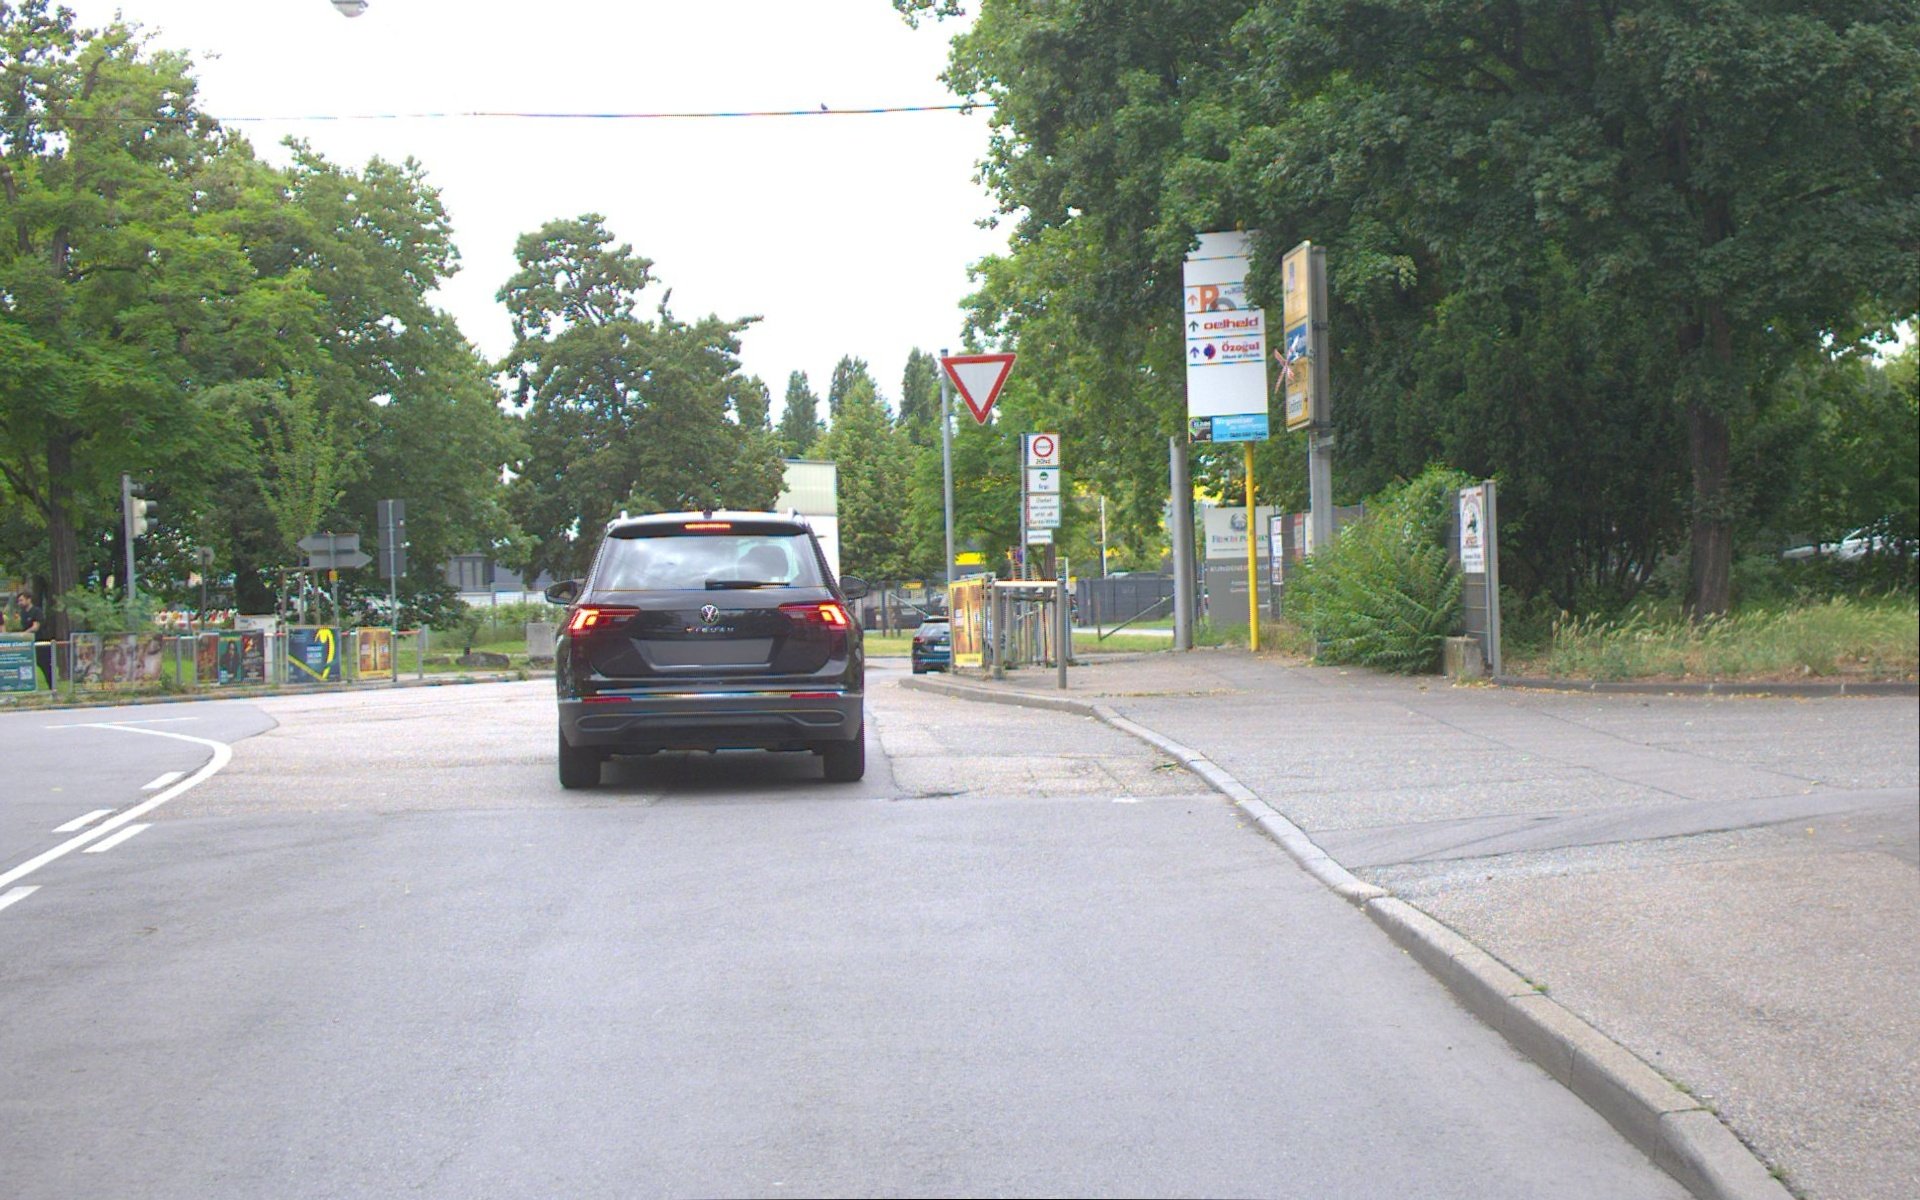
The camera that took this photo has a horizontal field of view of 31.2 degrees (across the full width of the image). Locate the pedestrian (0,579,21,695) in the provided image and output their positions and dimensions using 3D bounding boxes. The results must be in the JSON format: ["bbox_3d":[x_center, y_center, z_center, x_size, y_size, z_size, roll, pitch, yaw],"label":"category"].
[{"bbox_3d":[-14.755,0.572,51.938,0.743,1.736,0.726,-2,1,39],"label":"pedestrian"}]

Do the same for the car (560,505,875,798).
[{"bbox_3d":[-1.546,0.237,21.210,1.739,1.612,3.642,-1,2,-6],"label":"car"}]

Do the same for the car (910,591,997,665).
[{"bbox_3d":[-0.129,0.638,79.454,1.659,1.569,3.828,-3,0,4],"label":"car"}]

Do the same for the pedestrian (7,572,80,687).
[{"bbox_3d":[-14.079,0.455,52.812,0.743,1.736,0.726,-2,1,39],"label":"pedestrian"}]
